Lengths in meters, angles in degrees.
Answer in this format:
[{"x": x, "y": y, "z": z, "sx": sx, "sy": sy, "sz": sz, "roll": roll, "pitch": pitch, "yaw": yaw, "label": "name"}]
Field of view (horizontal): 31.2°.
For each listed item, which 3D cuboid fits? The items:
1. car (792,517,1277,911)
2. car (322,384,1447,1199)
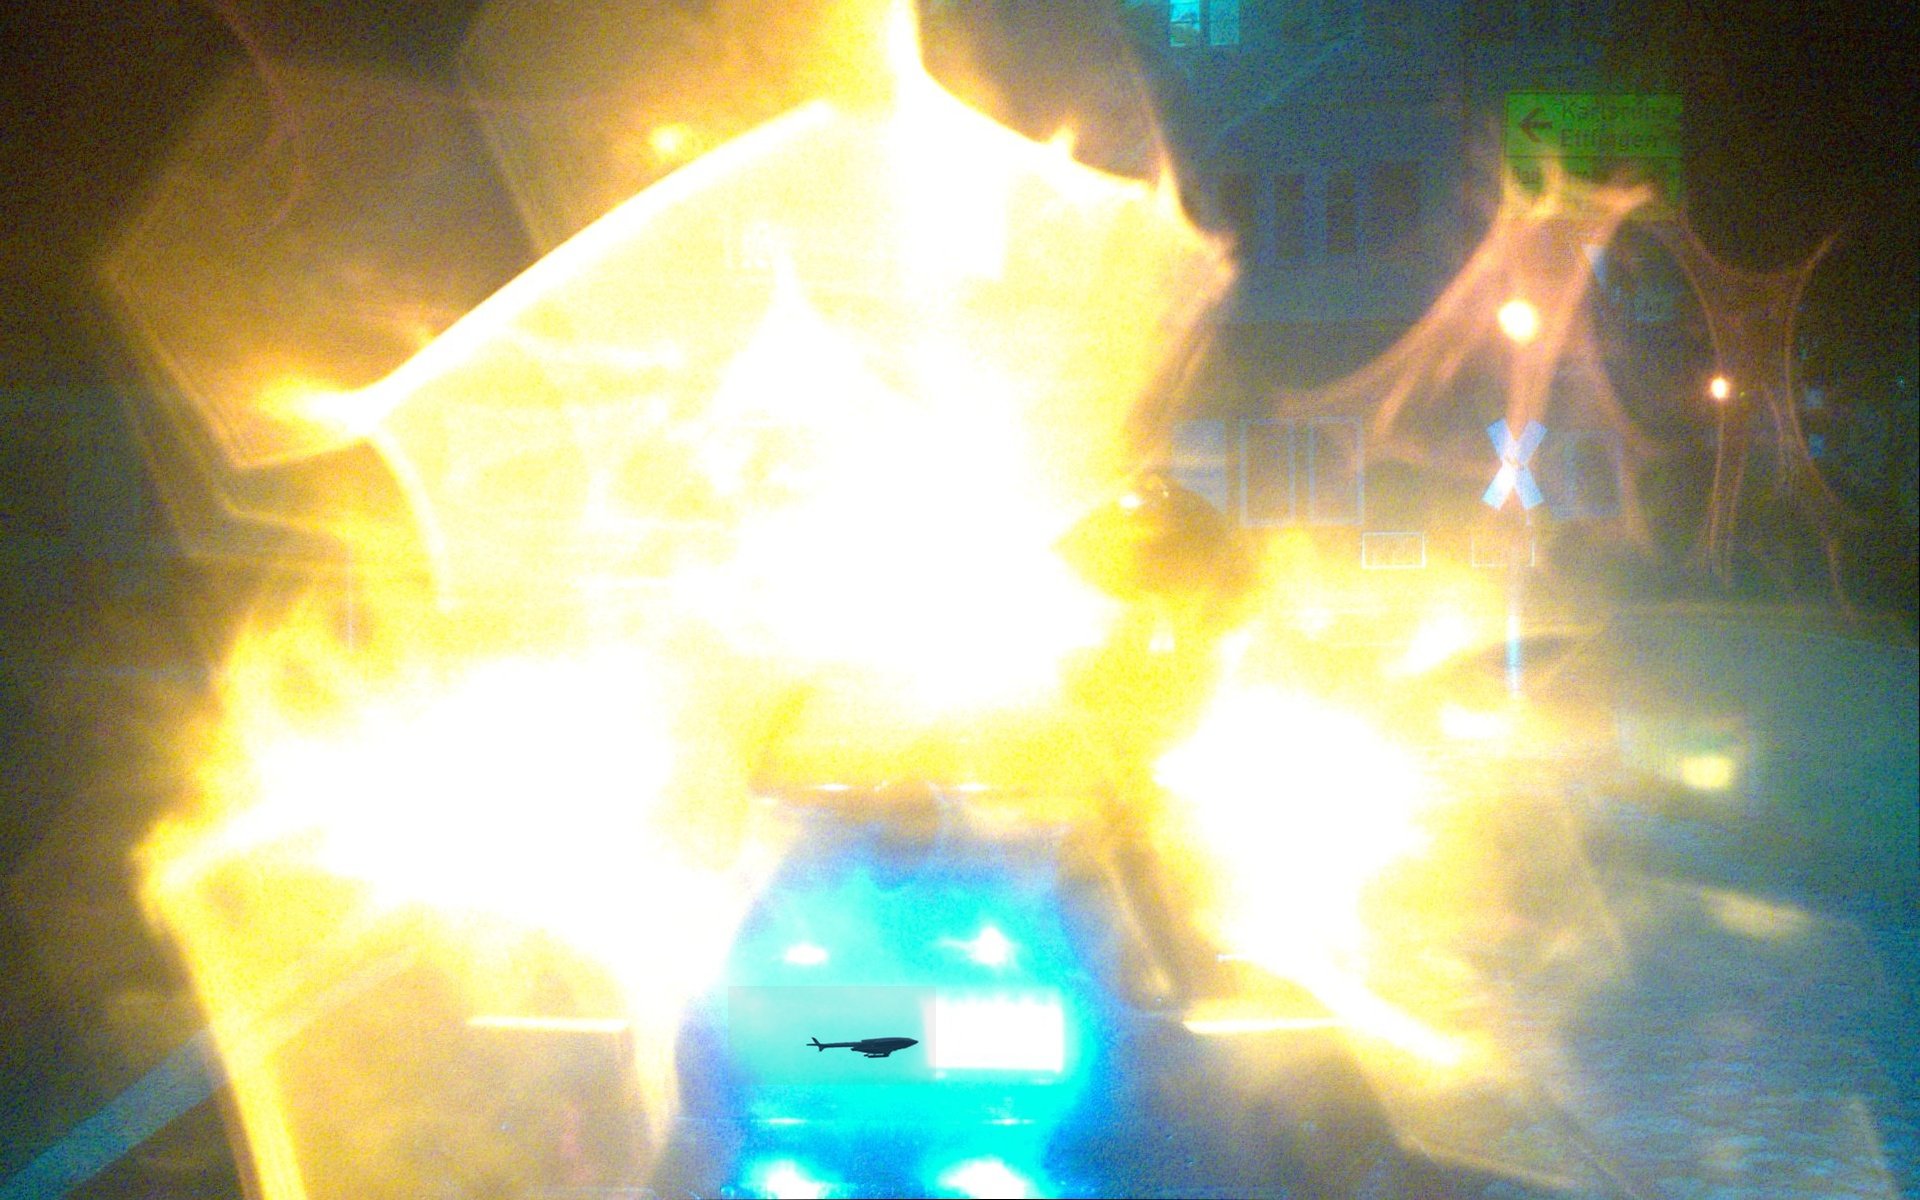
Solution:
[{"x": 0.369, "y": 0.369, "z": 14.490, "sx": 1.744, "sy": 1.410, "sz": 4.000, "roll": -1, "pitch": 1, "yaw": 3, "label": "car"}, {"x": -0.096, "y": 0.432, "z": 7.443, "sx": 1.791, "sy": 1.675, "sz": 3.905, "roll": 0, "pitch": 2, "yaw": 1, "label": "car"}]
